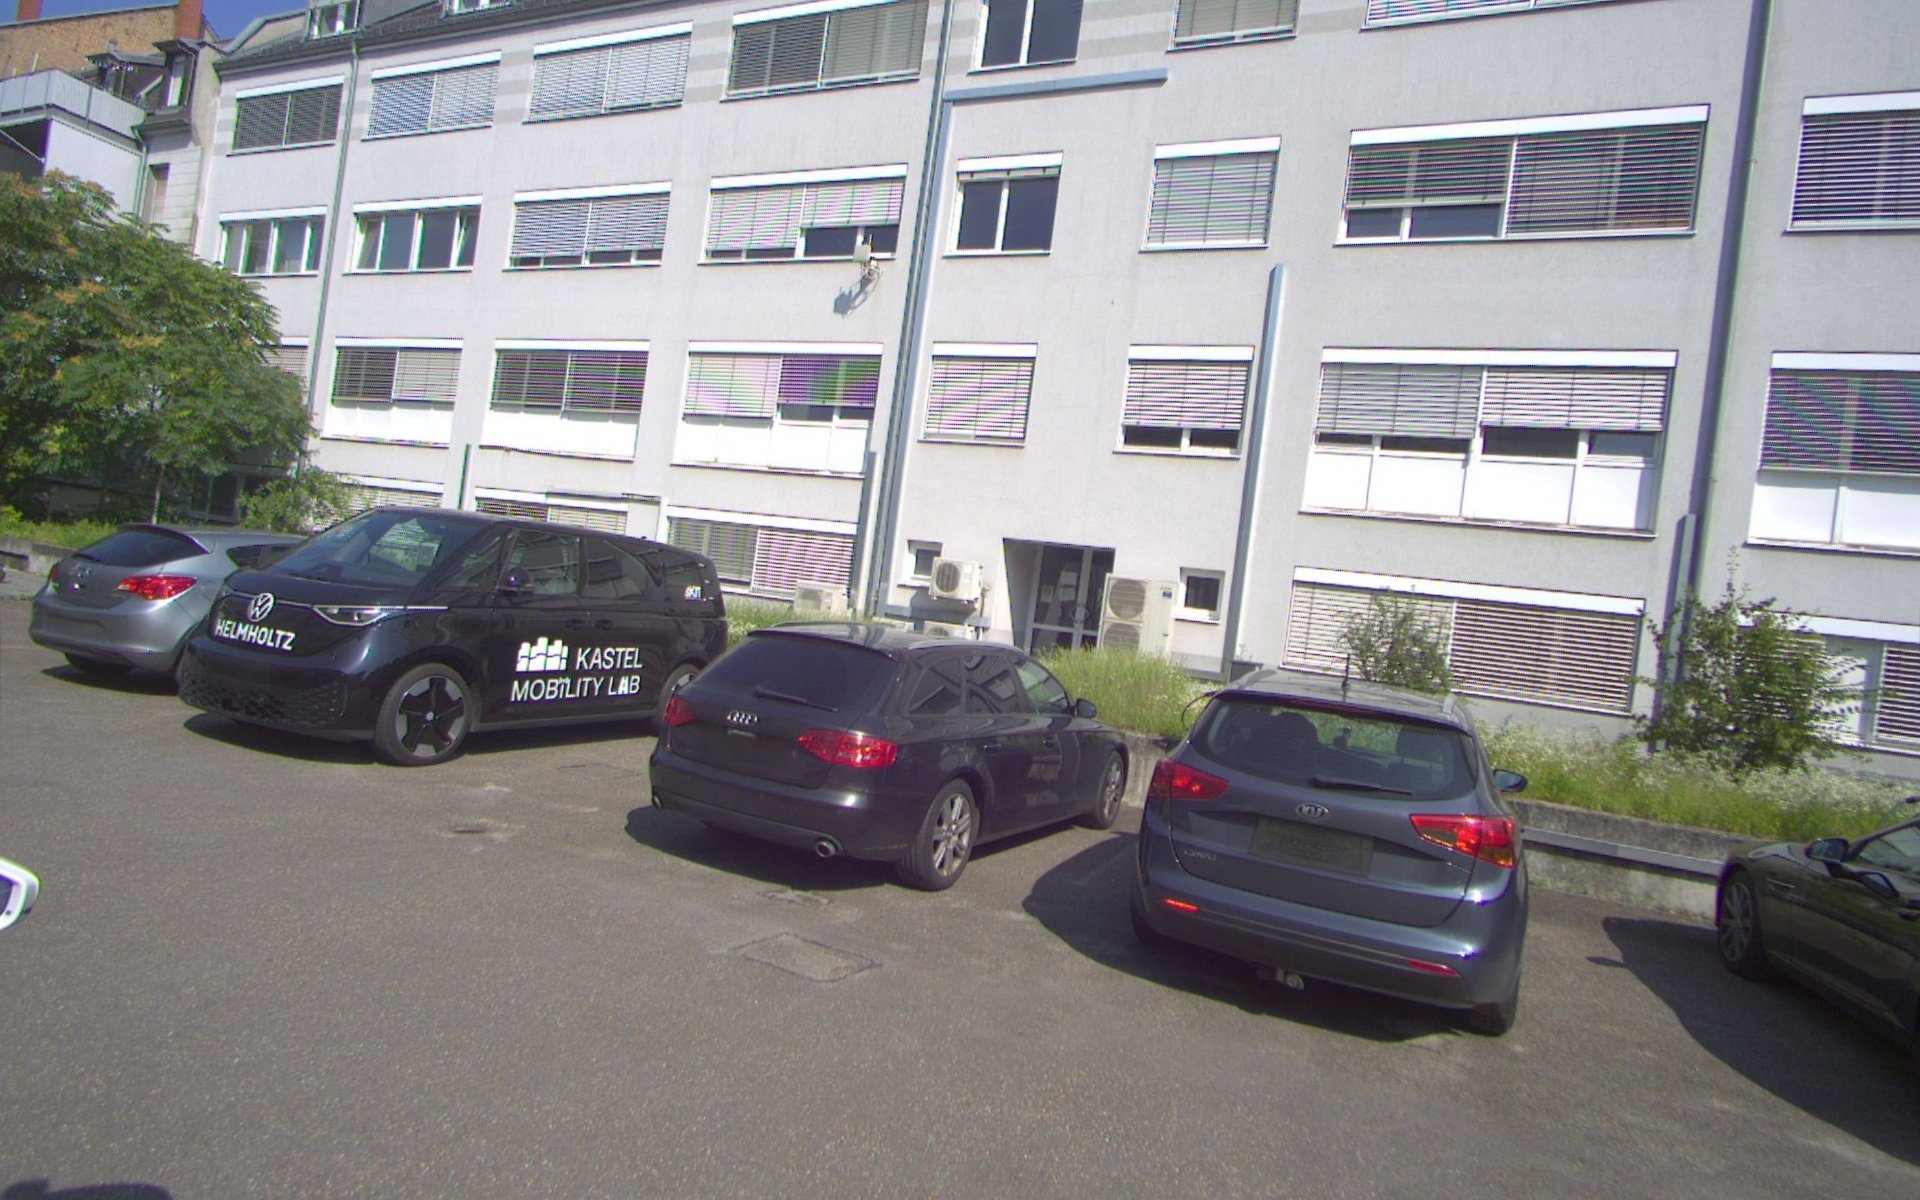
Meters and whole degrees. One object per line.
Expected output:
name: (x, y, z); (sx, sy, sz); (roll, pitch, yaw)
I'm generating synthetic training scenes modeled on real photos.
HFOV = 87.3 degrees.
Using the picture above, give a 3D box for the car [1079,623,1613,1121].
car: (2.266, 1.170, 5.805); (1.846, 1.607, 3.875); (7, -2, 25)

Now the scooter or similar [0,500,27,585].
scooter or similar: (-15.185, -0.952, 15.390); (1.324, 1.276, 0.379); (7, 1, -2)

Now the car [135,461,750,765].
car: (-3.951, 0.192, 8.731); (1.848, 1.815, 4.516); (6, -1, 21)

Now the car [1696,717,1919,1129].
car: (5.143, 1.519, 4.520); (1.862, 1.607, 3.814); (7, -2, 21)

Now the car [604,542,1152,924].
car: (-0.186, 0.806, 7.060); (1.740, 1.711, 4.129); (7, -2, 28)

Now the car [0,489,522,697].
car: (-6.558, 0.048, 9.897); (1.742, 1.500, 3.946); (6, -1, 21)
